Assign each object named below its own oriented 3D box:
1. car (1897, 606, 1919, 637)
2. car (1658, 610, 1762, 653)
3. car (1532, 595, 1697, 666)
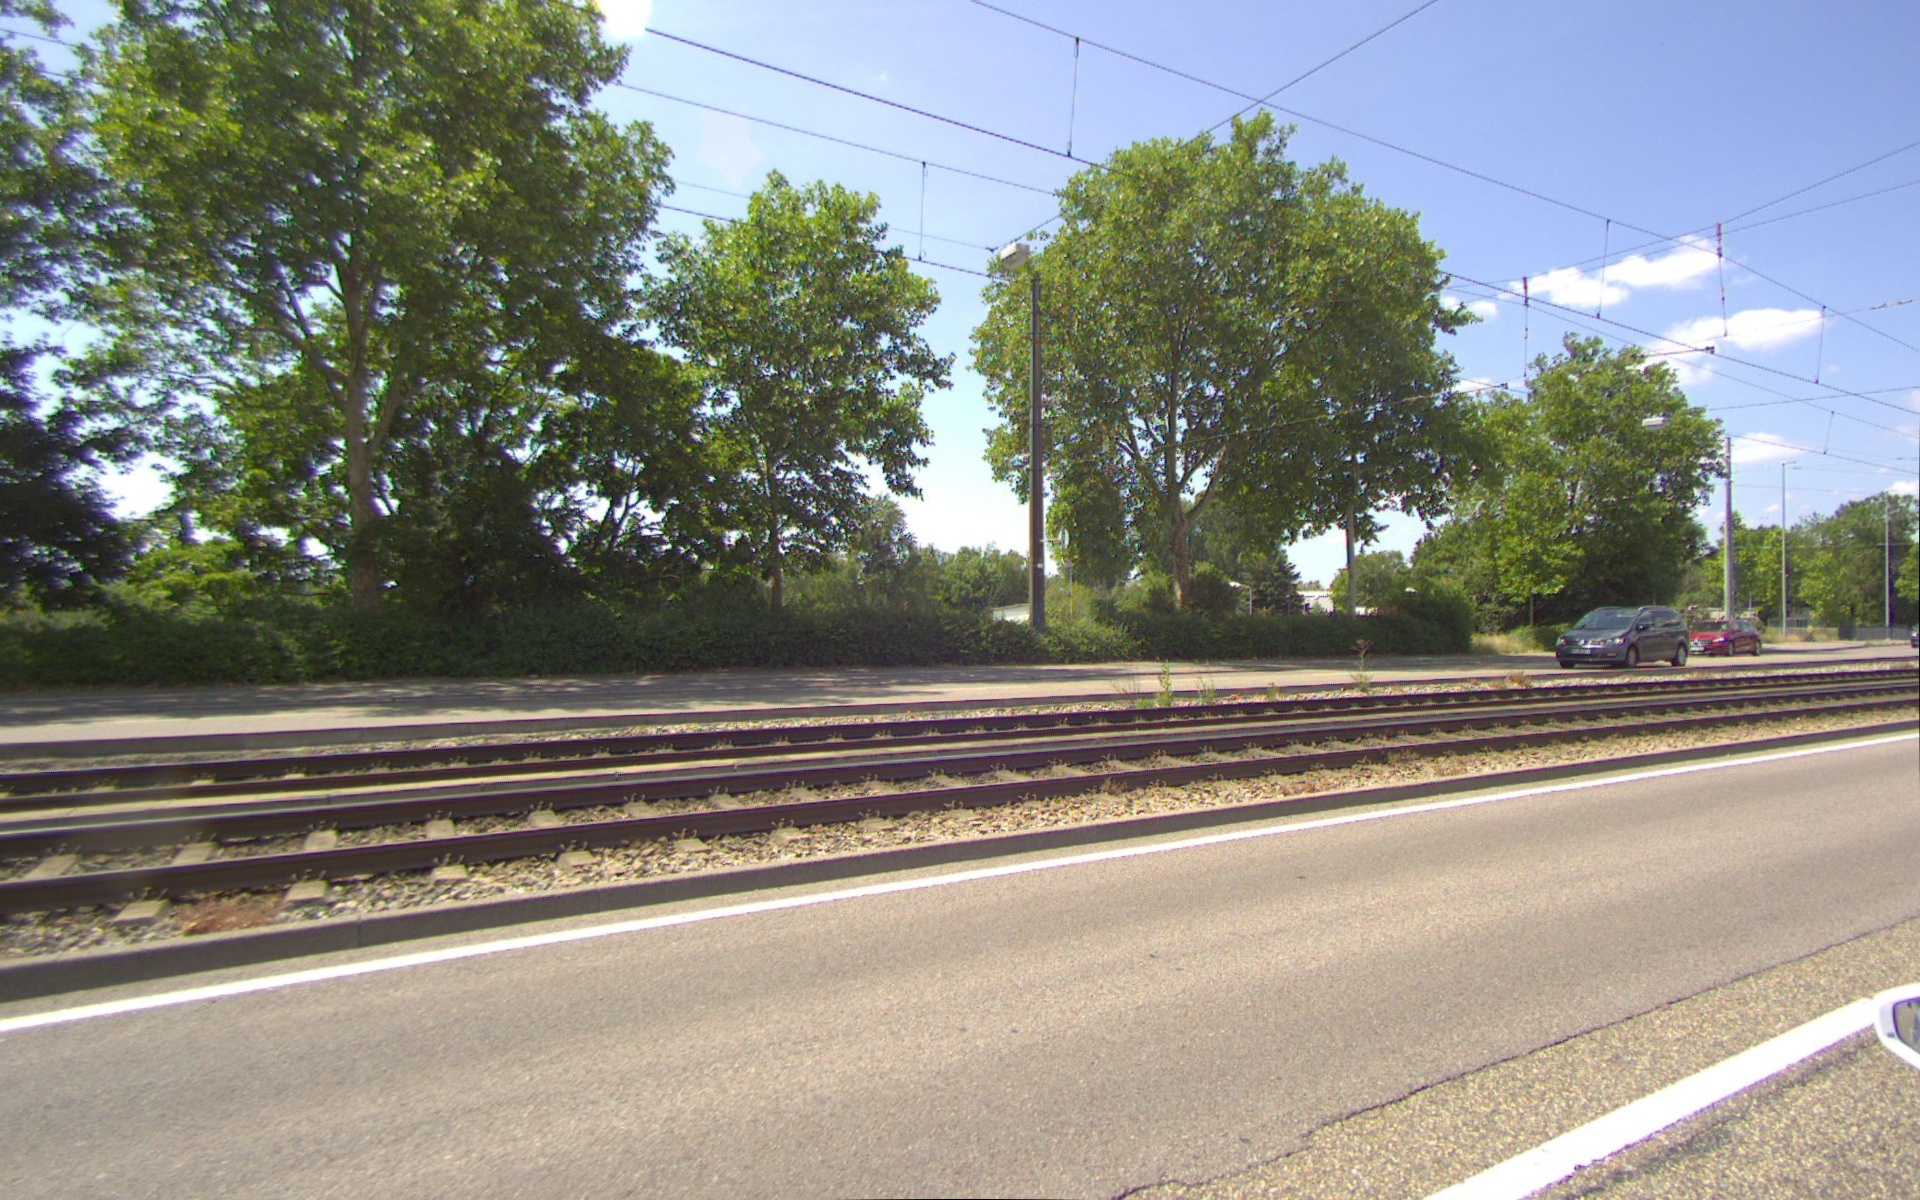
[{"bbox_3d":[58.647,1.283,60.164,4.902,1.854,1.988,0,-2,-25],"label":"car"},{"bbox_3d":[31.011,1.275,41.495,4.418,1.692,1.983,1,-2,-32],"label":"car"},{"bbox_3d":[18.516,0.857,28.362,4.914,1.854,1.983,1,-3,-32],"label":"car"}]
